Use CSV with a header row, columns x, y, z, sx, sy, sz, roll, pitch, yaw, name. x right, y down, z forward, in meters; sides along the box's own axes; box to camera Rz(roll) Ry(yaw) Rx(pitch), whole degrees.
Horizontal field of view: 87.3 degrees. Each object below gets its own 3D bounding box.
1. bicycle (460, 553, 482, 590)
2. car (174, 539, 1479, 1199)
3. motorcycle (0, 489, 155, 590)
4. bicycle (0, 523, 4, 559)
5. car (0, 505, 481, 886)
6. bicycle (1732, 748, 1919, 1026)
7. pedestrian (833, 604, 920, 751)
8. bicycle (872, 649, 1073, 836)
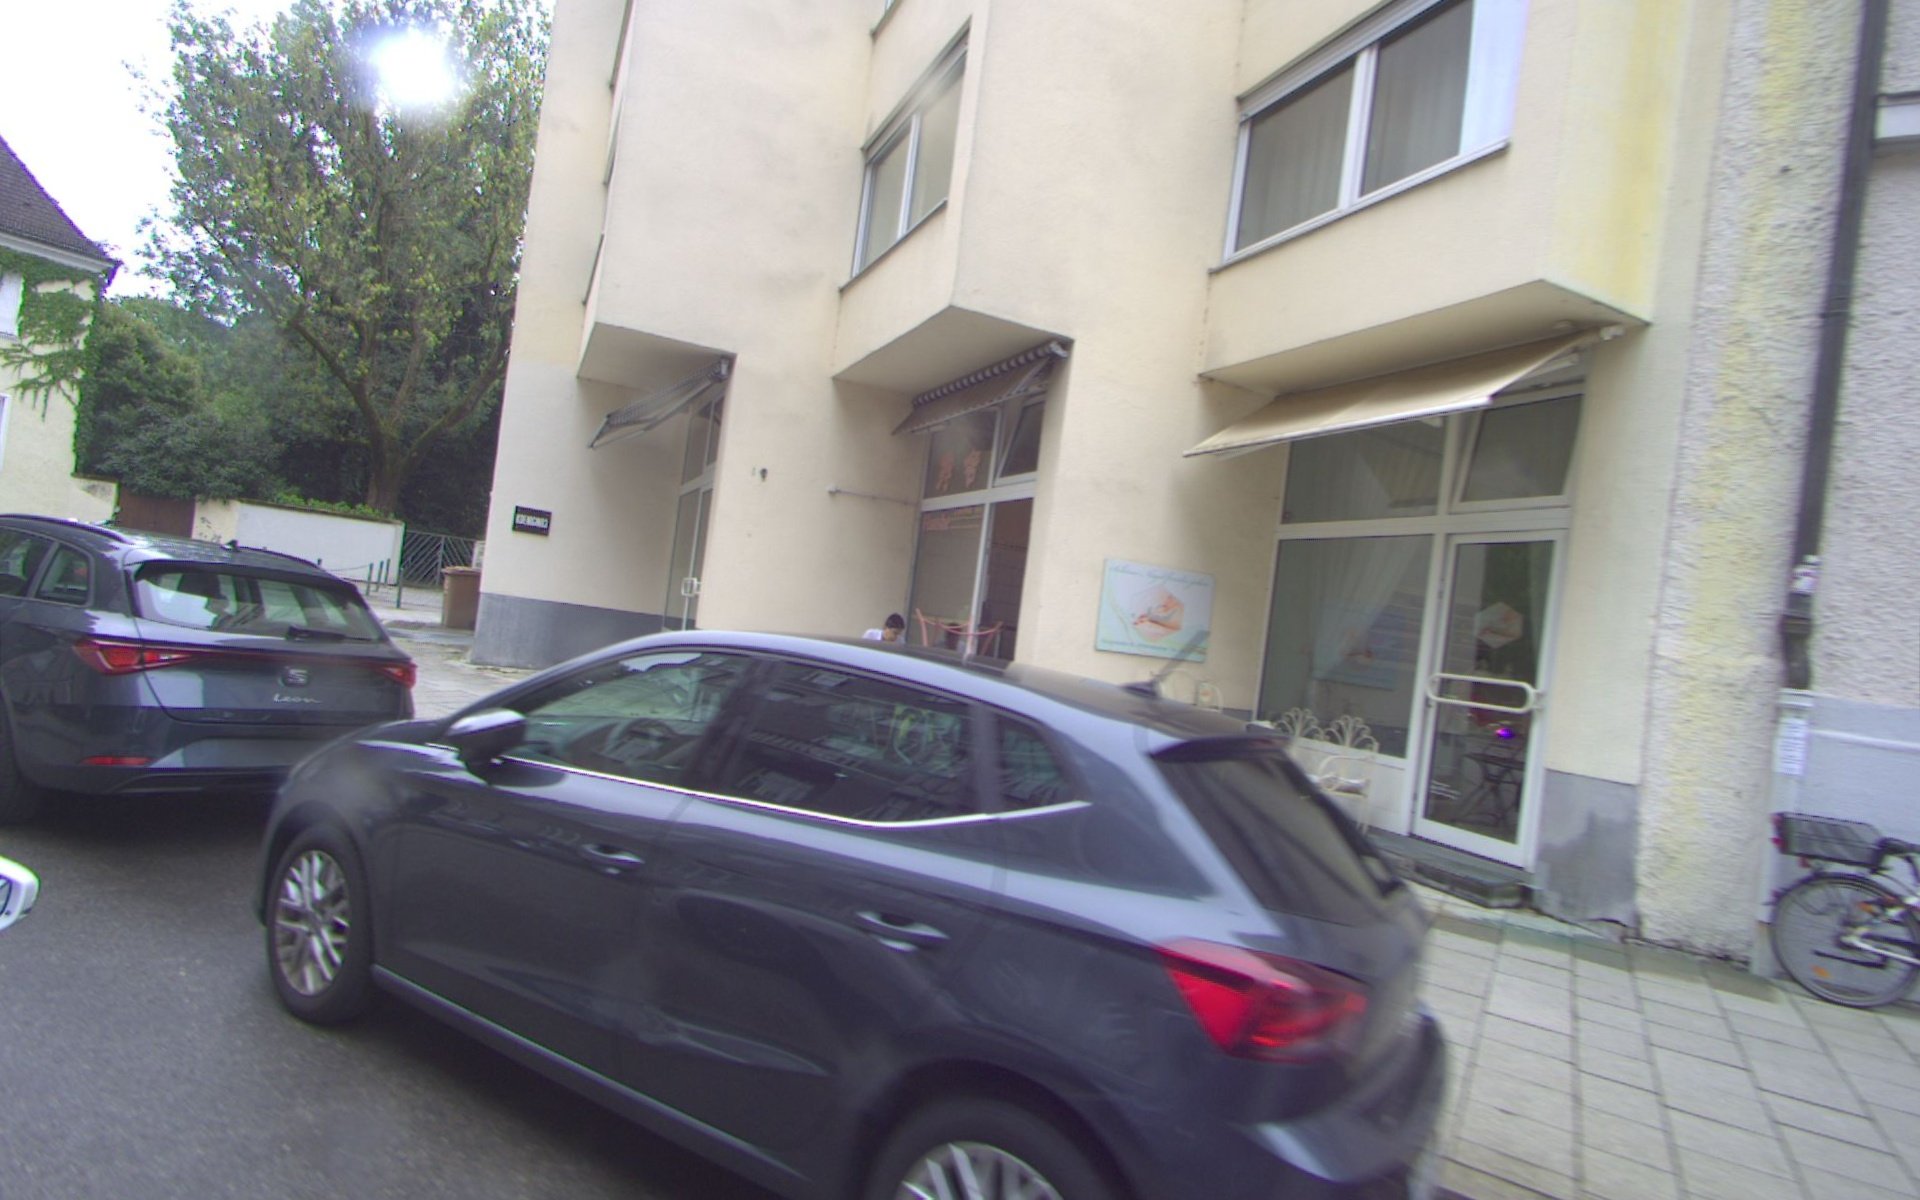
x,y,z,sx,sy,sz,roll,pitch,yaw,name
-17.621,-1.011,36.278,0.529,1.233,2.071,8,-2,-24,bicycle
-0.573,0.799,3.219,3.789,1.488,1.638,7,-2,30,car
-14.690,-0.967,16.591,0.801,1.371,2.087,7,-2,9,motorcycle
-10.964,-0.362,10.110,1.779,1.099,0.660,7,1,-32,bicycle
-5.097,0.271,5.937,4.532,1.488,1.697,7,-2,30,car
5.049,1.512,5.061,1.648,1.208,0.564,7,2,27,bicycle
-0.867,0.785,10.397,0.526,1.415,0.669,8,-1,-25,pedestrian
0.023,0.991,7.425,0.743,1.045,1.790,6,0,-23,bicycle
